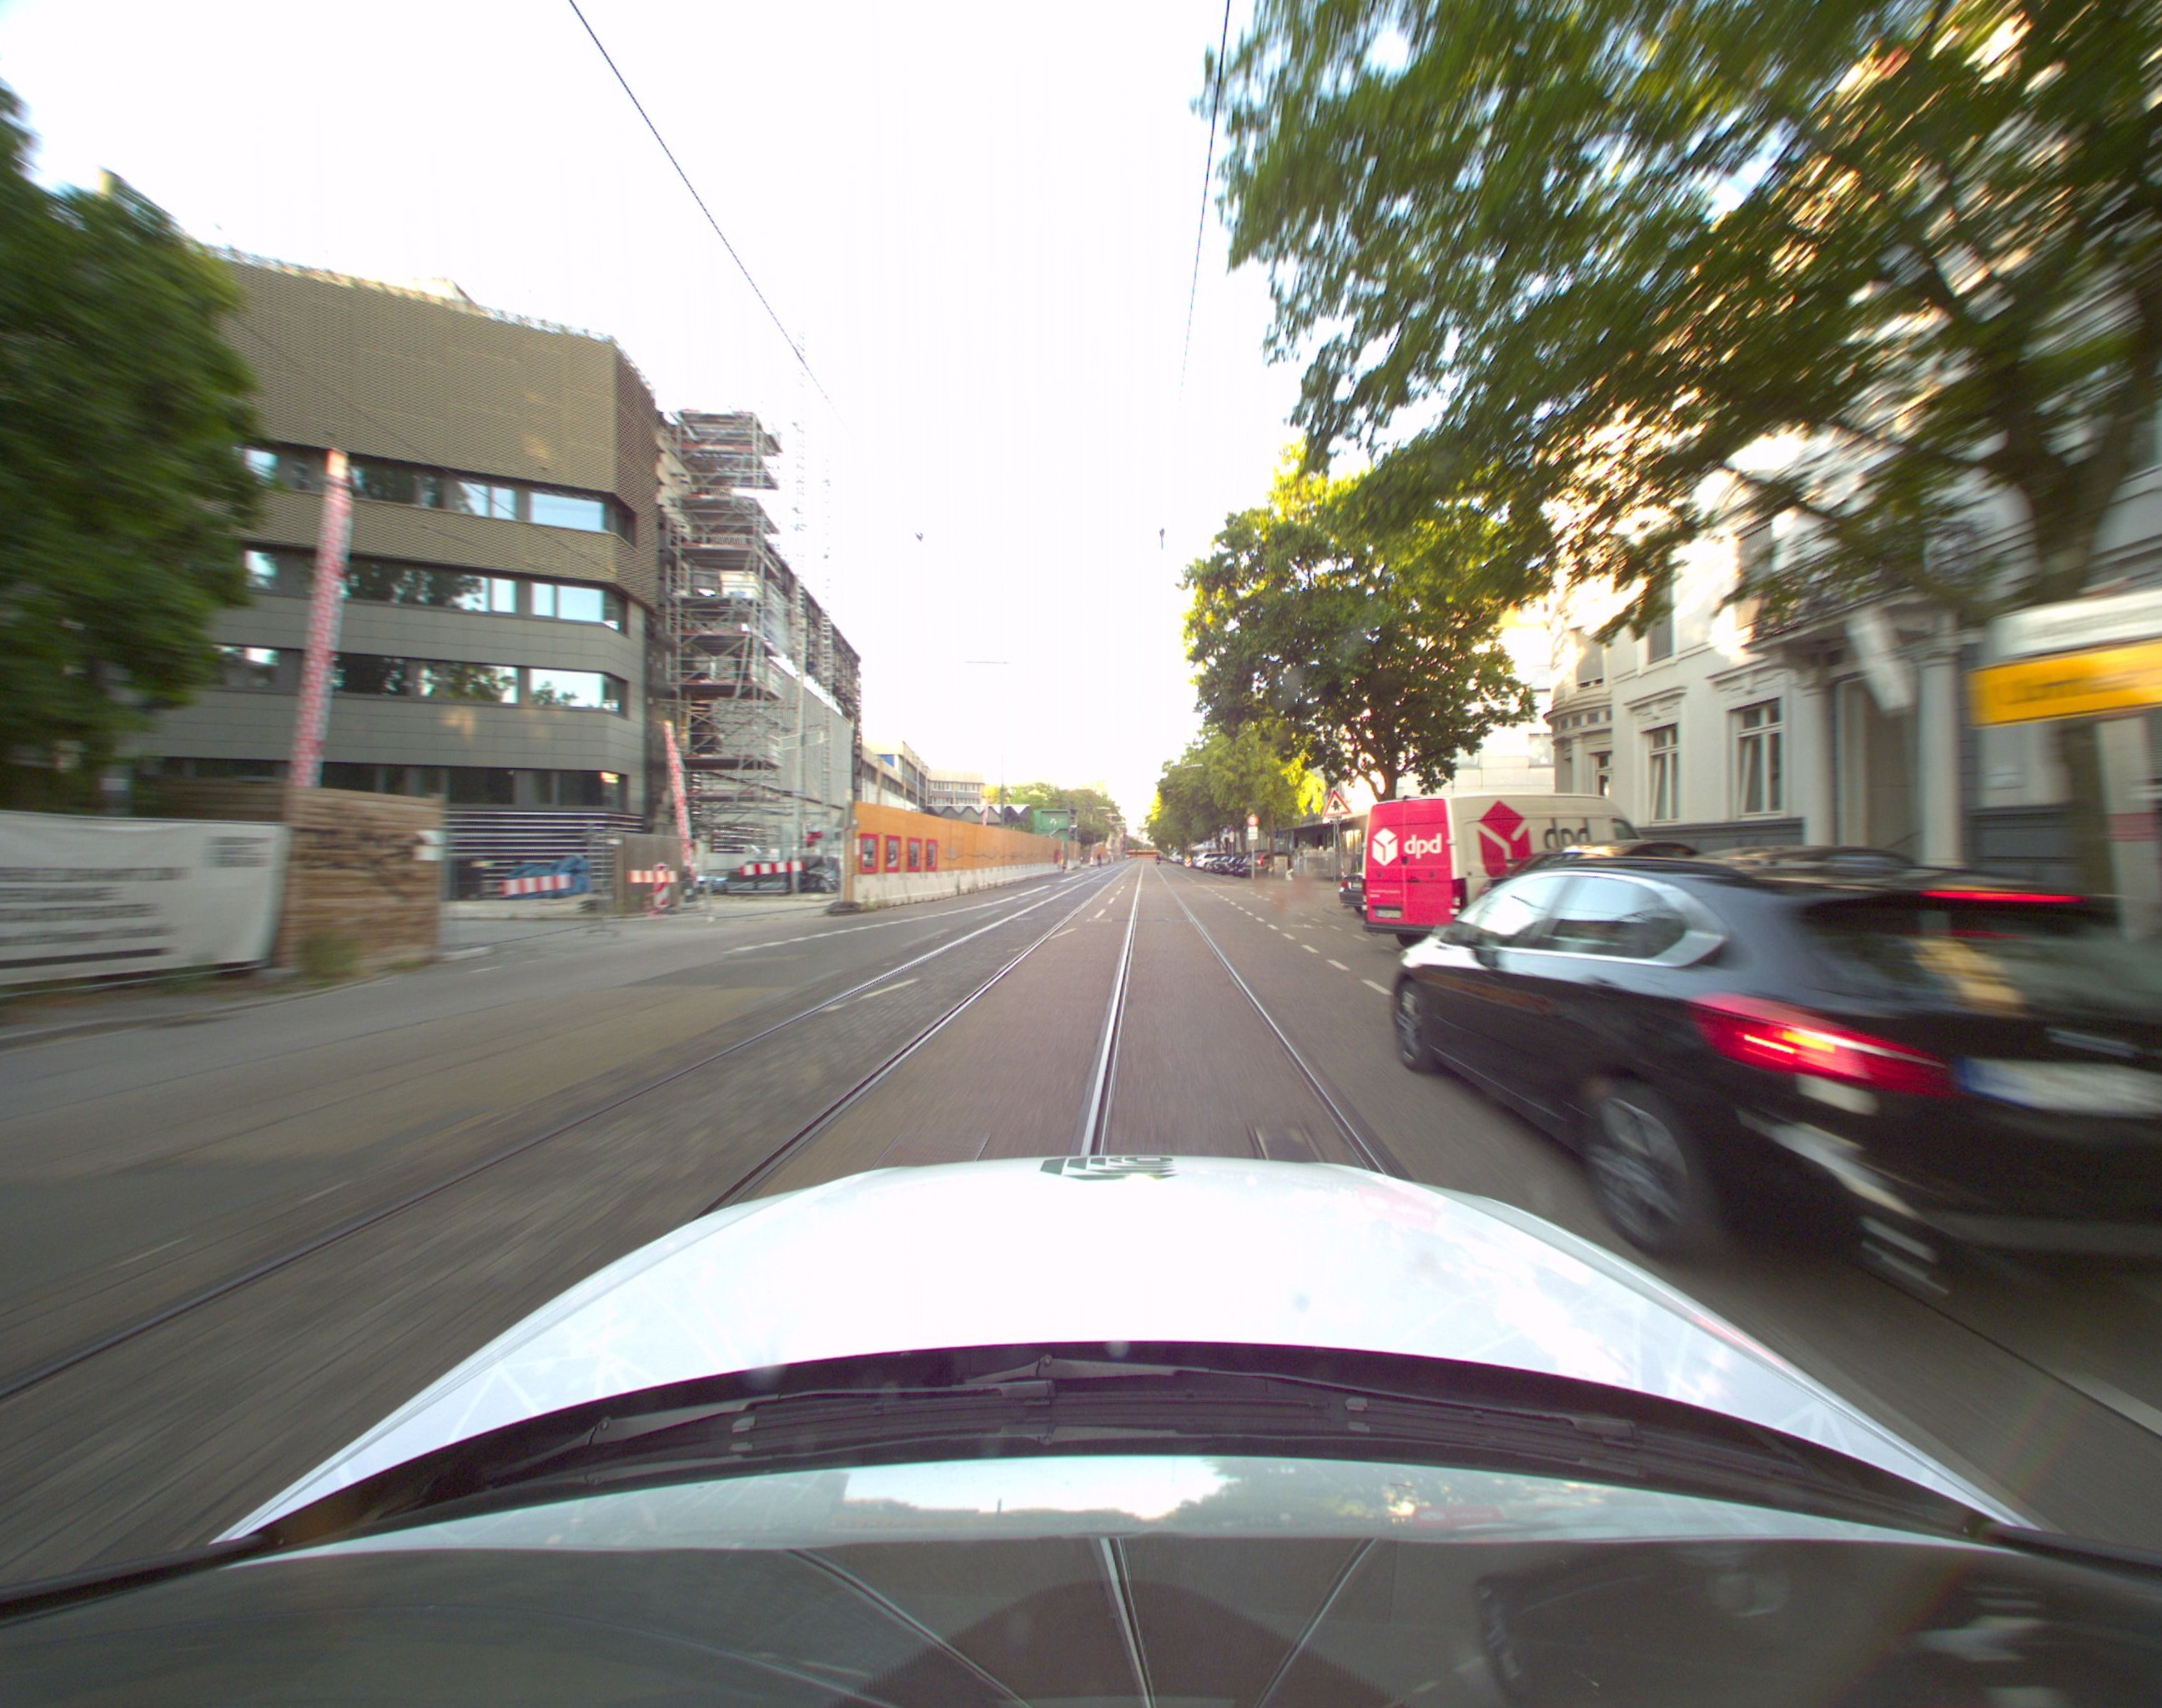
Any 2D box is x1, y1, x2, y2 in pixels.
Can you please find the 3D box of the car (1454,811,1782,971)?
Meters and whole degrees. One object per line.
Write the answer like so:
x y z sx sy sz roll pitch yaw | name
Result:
7.422 0.418 11.284 3.958 1.765 1.827 -3 0 -22 | car

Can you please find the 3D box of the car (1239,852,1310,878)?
11.902 0.663 50.061 3.944 1.579 1.628 -1 0 -12 | car

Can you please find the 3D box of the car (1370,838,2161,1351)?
3.205 0.786 4.678 1.873 1.620 4.005 2 0 4 | car

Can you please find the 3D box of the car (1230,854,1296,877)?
11.874 0.731 53.232 3.944 1.406 1.628 -1 0 -12 | car

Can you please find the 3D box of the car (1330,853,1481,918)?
8.202 0.744 20.501 3.796 1.309 1.637 -3 0 -35 | car

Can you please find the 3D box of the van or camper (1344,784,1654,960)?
7.425 0.175 14.262 5.567 2.530 2.066 -3 0 -31 | van or camper

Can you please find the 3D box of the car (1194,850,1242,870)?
12.157 0.554 72.350 3.942 1.722 1.629 -1 0 -10 | car

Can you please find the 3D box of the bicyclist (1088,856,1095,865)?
1.532 0.913 116.289 0.941 1.346 1.112 -1 0 1 | bicyclist

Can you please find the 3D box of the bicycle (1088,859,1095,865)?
1.566 1.183 117.111 0.944 0.849 2.698 -1 0 2 | bicycle

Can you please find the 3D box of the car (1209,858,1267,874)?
11.644 0.879 60.360 3.944 1.175 1.628 -1 0 -12 | car

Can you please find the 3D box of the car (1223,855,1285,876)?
11.987 0.761 56.465 3.944 1.406 1.628 -1 0 -12 | car

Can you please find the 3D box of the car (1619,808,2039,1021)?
8.139 0.516 8.888 3.958 1.765 1.827 -3 0 -22 | car

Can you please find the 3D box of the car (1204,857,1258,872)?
12.080 0.835 65.574 3.942 1.175 1.629 -1 0 -10 | car
